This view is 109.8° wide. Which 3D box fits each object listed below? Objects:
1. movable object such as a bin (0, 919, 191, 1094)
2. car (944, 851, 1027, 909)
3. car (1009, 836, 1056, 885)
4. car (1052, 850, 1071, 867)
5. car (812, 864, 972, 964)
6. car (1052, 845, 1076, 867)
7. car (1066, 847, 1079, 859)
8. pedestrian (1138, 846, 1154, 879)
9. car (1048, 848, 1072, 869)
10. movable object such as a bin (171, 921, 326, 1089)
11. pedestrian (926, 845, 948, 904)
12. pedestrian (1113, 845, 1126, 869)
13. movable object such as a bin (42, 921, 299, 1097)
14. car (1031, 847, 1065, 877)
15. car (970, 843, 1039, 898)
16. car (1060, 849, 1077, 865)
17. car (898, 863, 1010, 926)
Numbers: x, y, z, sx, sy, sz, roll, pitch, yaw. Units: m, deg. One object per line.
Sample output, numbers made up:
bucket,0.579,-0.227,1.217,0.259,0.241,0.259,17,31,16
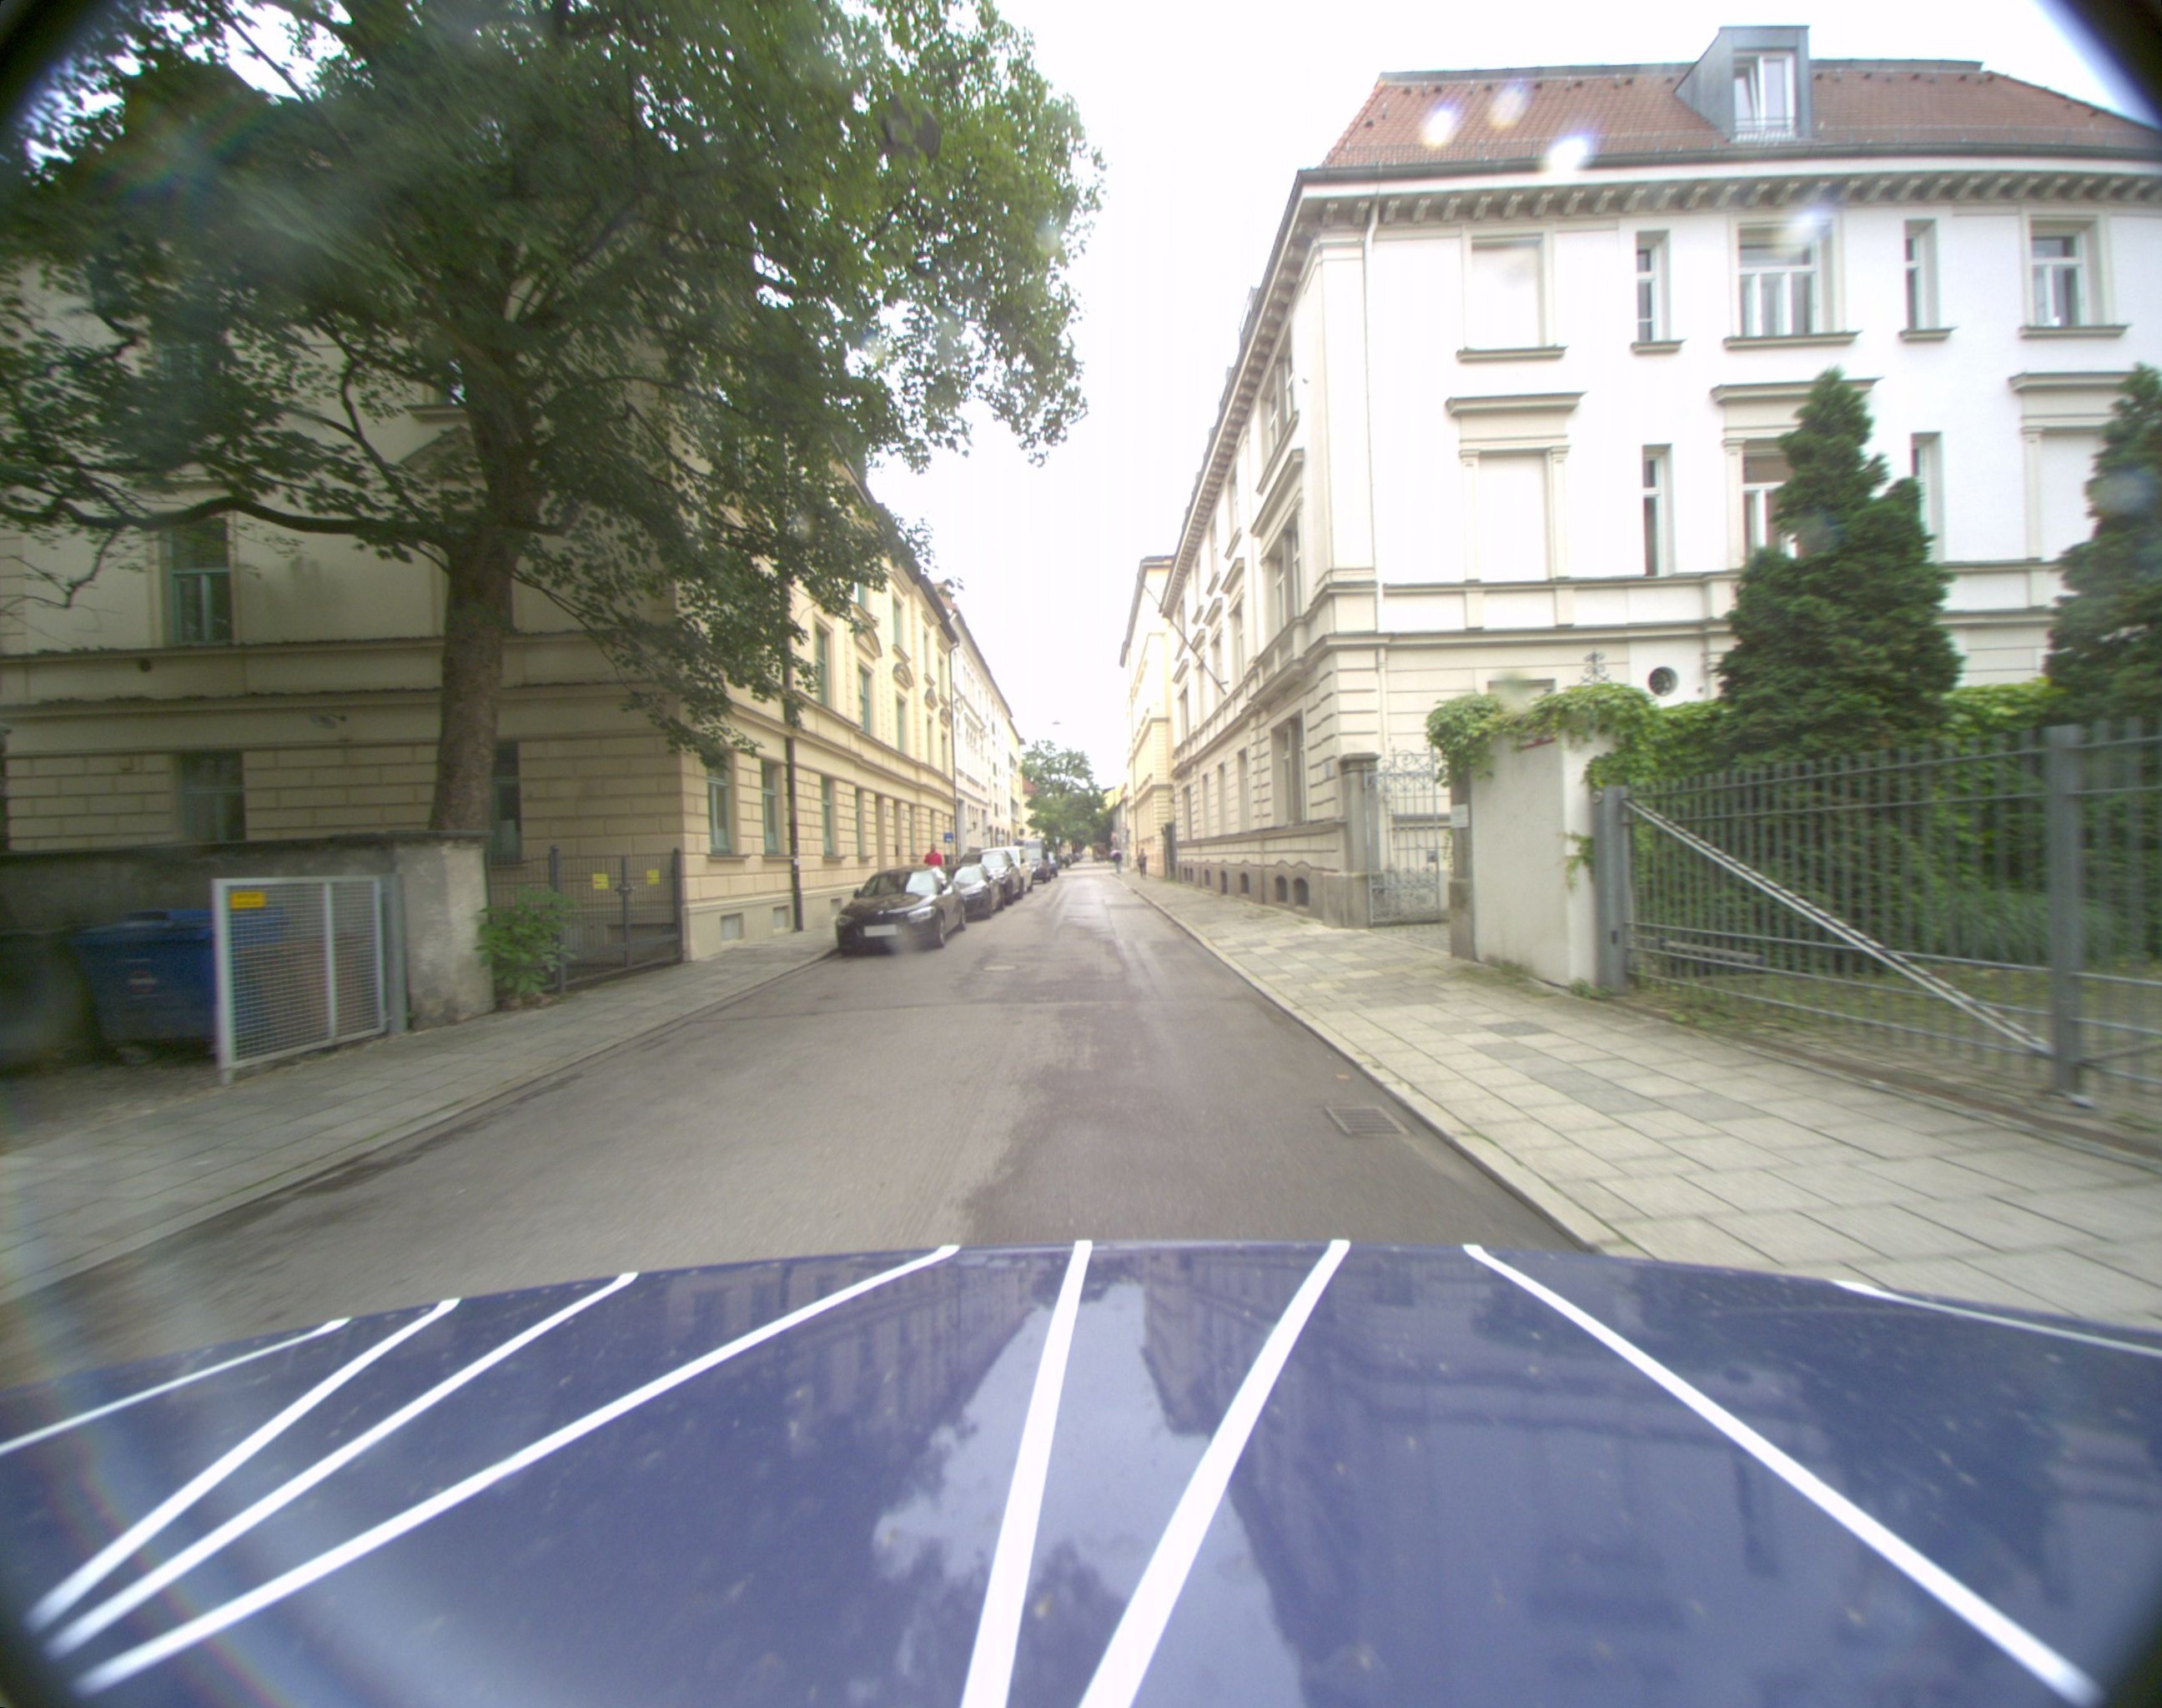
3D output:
movable object such as a bin,-9.494,1.361,6.952,1.207,1.352,1.168,-4,1,0
car,-2.997,0.773,24.873,1.998,1.677,4.510,-2,0,1
car,-2.705,0.341,43.994,2.014,2.479,5.090,-6,0,2
car,-2.410,0.529,94.994,2.014,1.969,5.090,-6,0,2
car,-3.329,0.988,14.344,1.860,1.366,4.509,-4,1,-1
car,-1.887,0.195,87.023,2.242,2.247,5.090,-6,0,2
car,-1.498,-0.222,141.507,2.014,1.969,5.090,-6,0,2
pedestrian,3.499,0.431,40.987,0.766,1.742,0.970,-2,1,0
car,-2.199,0.426,80.560,2.014,1.914,5.090,-6,0,2
movable object such as a bin,-7.497,1.332,6.873,0.591,1.352,0.632,-4,1,0
pedestrian,-4.918,0.690,26.016,0.581,1.966,0.455,-2,1,0
pedestrian,2.872,0.218,56.758,0.920,1.742,1.066,-2,1,0
movable object such as a bin,-8.352,1.377,7.047,1.001,1.352,1.053,-4,1,0
car,-2.436,0.536,57.414,2.014,1.989,5.090,-6,0,2
car,-2.994,0.592,30.892,1.998,2.002,5.064,-2,0,3
car,-1.756,0.415,110.095,2.014,1.969,5.090,-6,0,2
car,-3.099,0.954,19.561,1.998,1.306,4.593,-2,0,1
